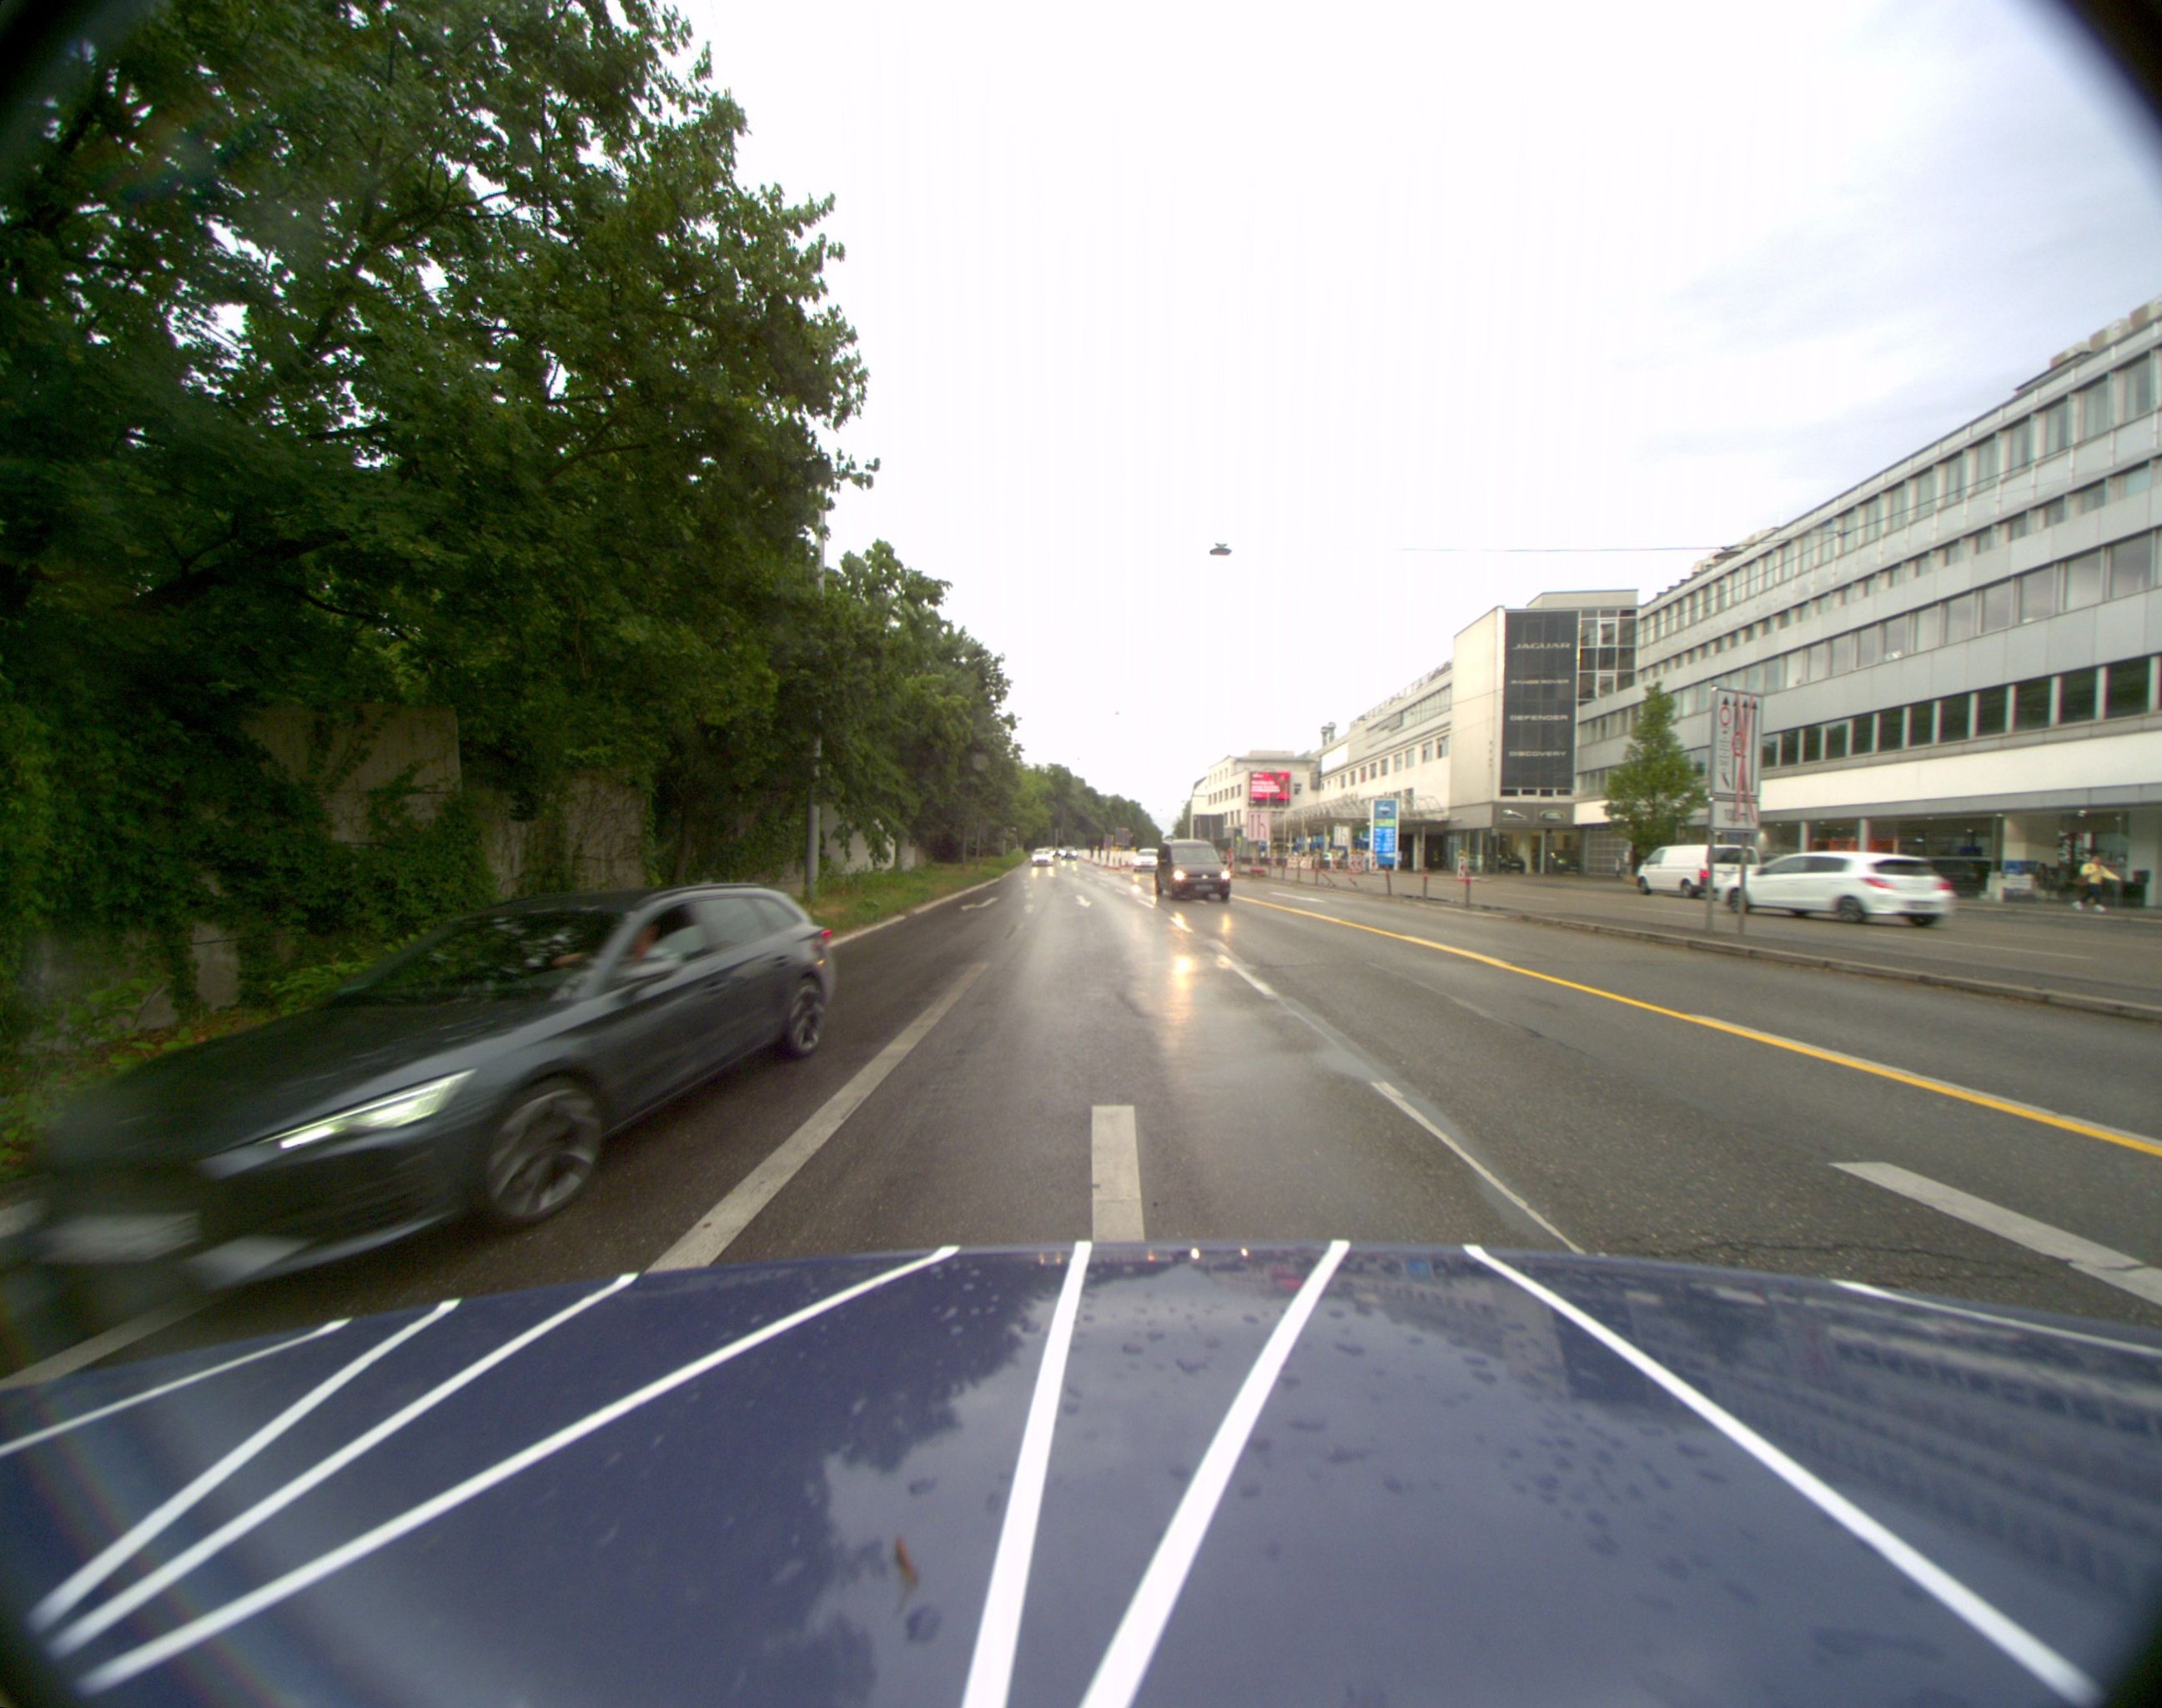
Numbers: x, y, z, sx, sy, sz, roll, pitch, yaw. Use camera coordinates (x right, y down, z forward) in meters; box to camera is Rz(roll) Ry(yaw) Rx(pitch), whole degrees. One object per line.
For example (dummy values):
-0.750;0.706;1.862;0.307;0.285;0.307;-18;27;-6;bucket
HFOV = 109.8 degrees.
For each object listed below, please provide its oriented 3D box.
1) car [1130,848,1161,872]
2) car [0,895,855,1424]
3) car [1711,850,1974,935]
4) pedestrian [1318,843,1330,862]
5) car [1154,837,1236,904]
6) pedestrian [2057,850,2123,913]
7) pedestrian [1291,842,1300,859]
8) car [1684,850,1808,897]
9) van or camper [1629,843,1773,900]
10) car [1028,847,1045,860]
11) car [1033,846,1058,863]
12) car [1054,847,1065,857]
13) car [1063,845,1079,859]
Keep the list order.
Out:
4.321;0.345;50.172;1.770;1.407;4.335;-2;1;8;car
-3.130;1.101;4.604;1.752;1.395;4.416;-3;0;6;car
16.229;0.753;16.508;1.806;1.523;3.763;4;0;-2;car
23.527;-0.149;73.593;0.895;1.804;0.941;-2;1;5;pedestrian
3.399;0.444;23.412;1.905;1.804;4.430;-2;1;2;car
29.280;0.781;22.057;0.761;1.765;0.864;-2;1;8;pedestrian
24.244;-0.416;85.843;0.894;1.804;0.942;-2;1;14;pedestrian
28.256;0.777;32.488;1.922;1.805;4.166;-2;1;6;car
22.431;0.565;27.781;1.939;1.913;4.687;0;1;8;van or camper
-5.761;-0.130;98.267;1.814;1.590;4.333;-2;1;1;car
-3.090;0.023;66.954;1.814;1.444;4.333;-2;1;2;car
-3.852;-0.336;137.032;1.814;1.590;4.333;-2;1;2;car
-1.169;-0.220;90.084;1.814;1.590;4.332;-2;1;0;car
